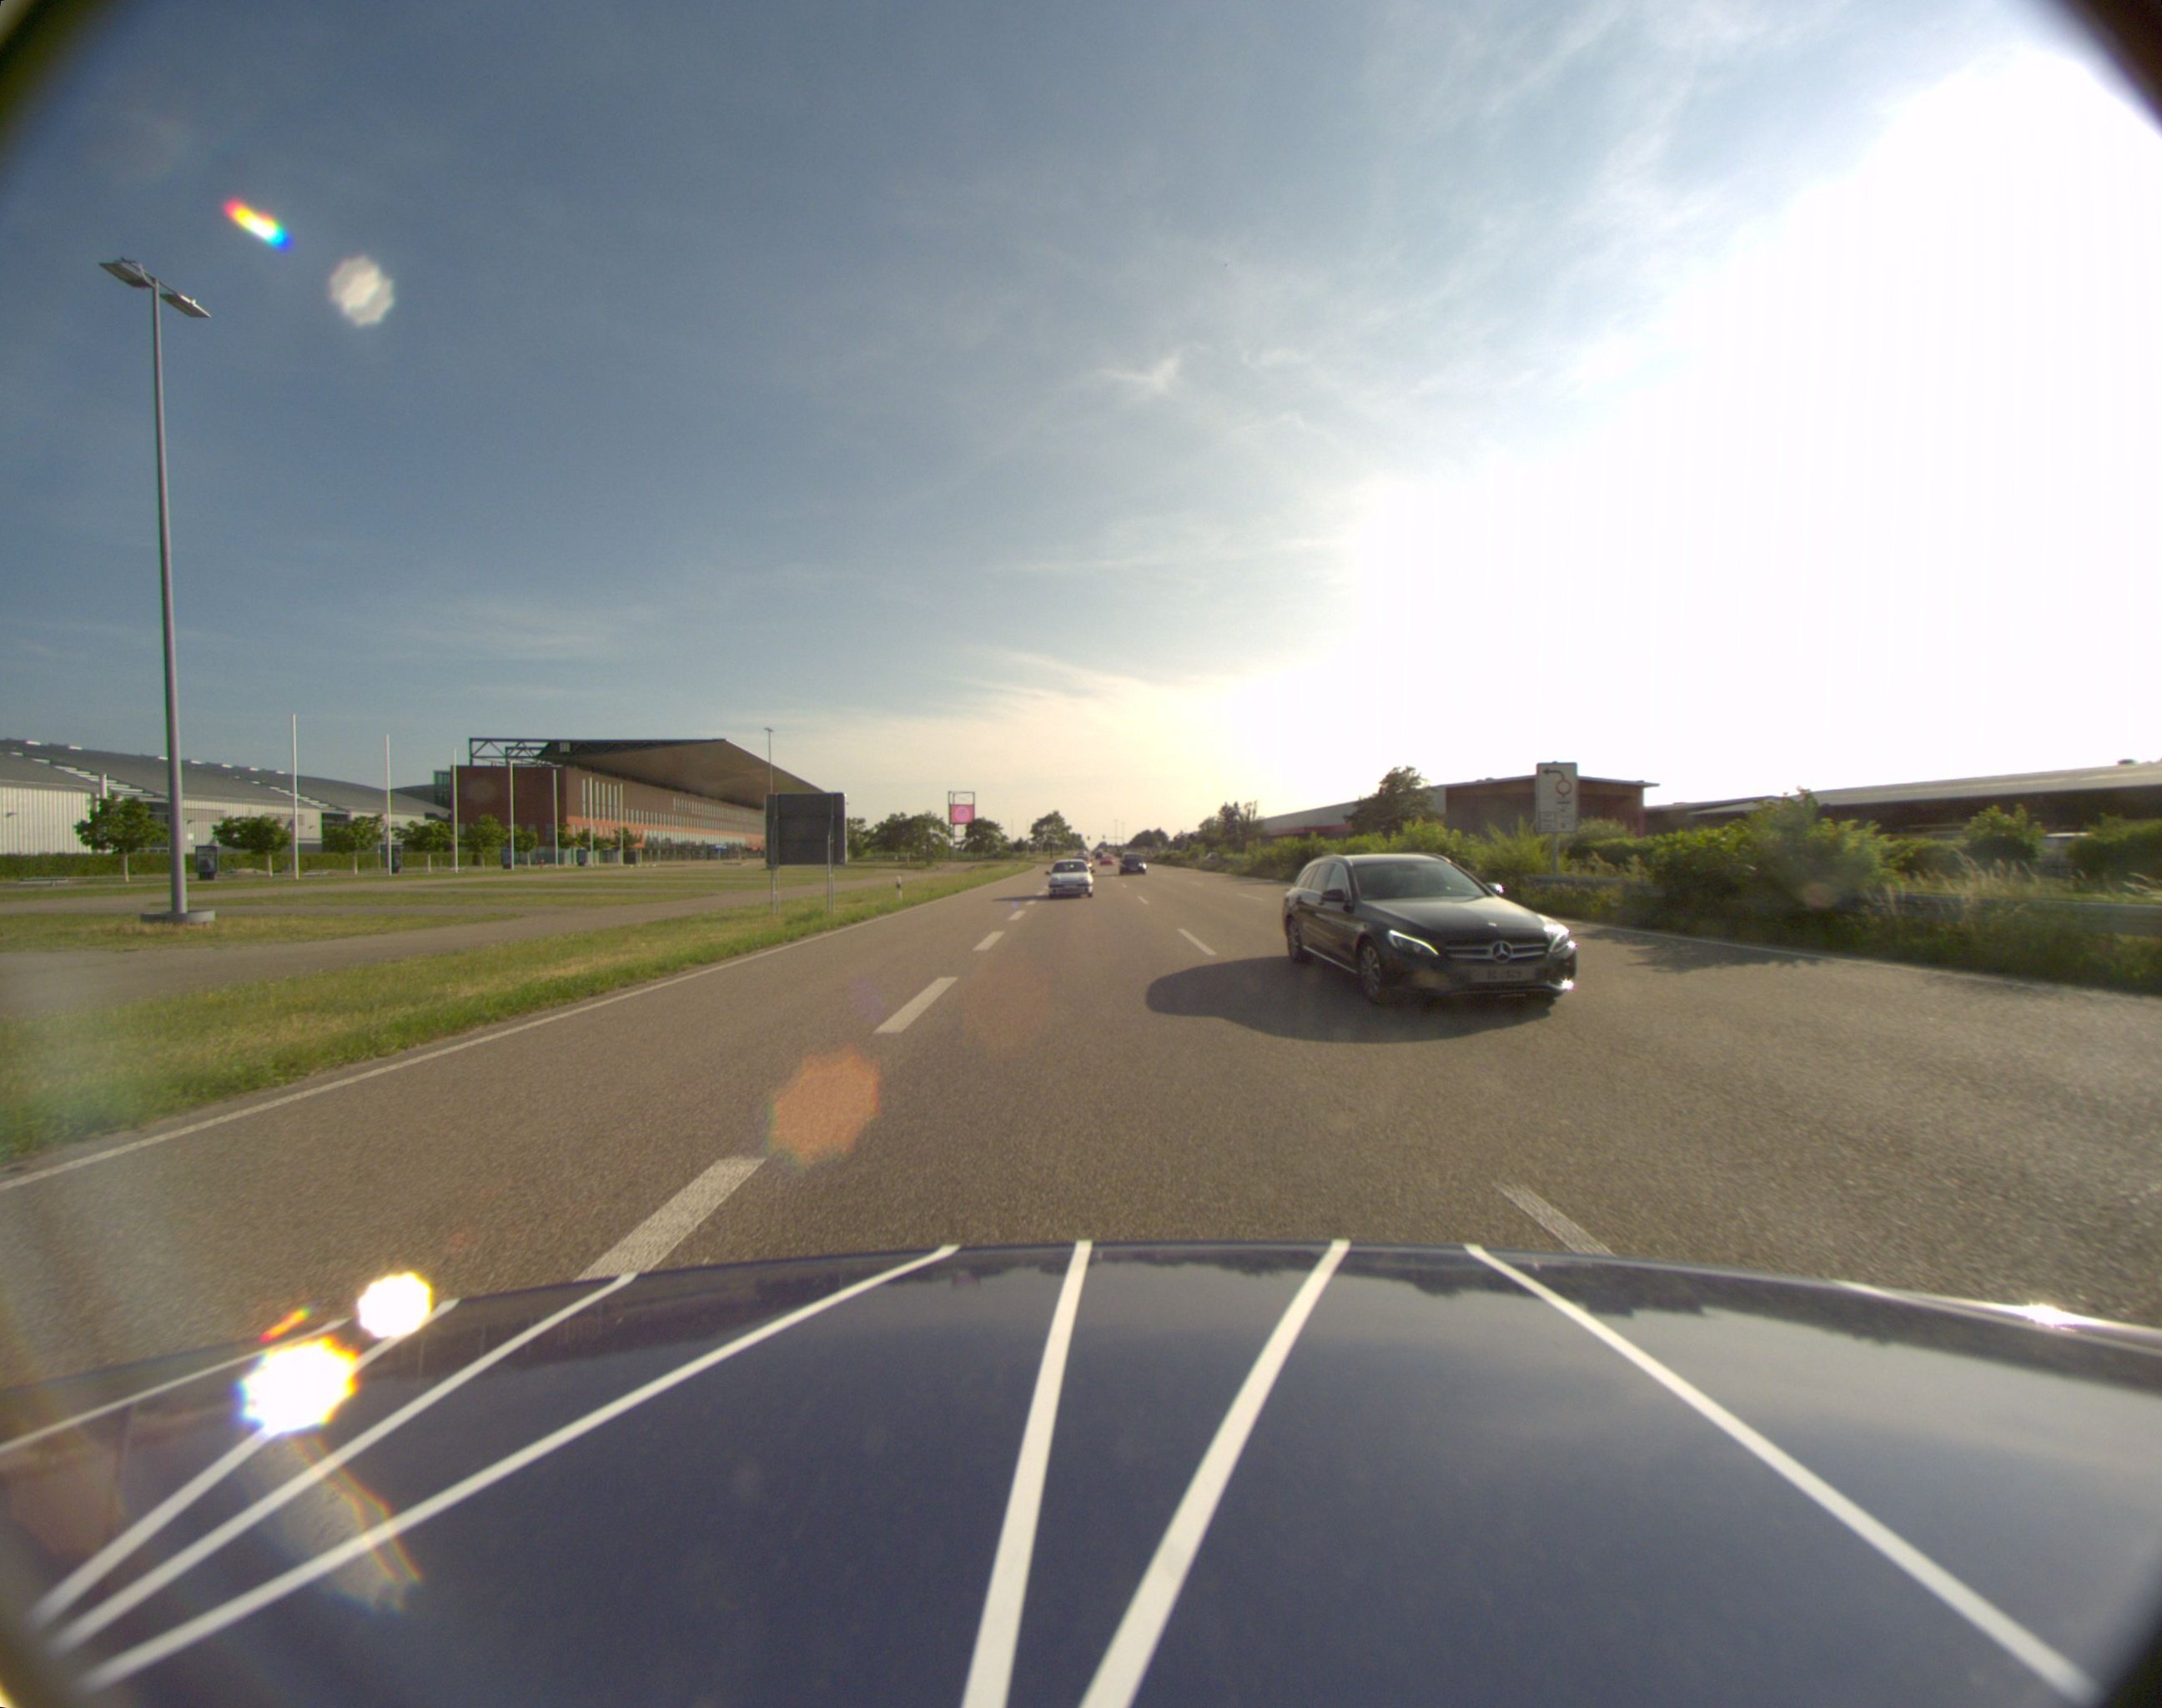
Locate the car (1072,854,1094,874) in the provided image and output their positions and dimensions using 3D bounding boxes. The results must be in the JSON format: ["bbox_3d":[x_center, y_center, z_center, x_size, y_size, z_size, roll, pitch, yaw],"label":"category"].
[{"bbox_3d":[0.162,0.807,62.470,1.751,1.512,3.739,-1,0,1],"label":"car"}]

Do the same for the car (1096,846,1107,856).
[{"bbox_3d":[4.149,-0.608,153.951,1.998,2.002,3.999,-1,1,1],"label":"car"}]

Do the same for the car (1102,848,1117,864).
[{"bbox_3d":[3.612,0.233,97.635,1.799,1.926,3.999,-1,1,1],"label":"car"}]

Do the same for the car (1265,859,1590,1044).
[{"bbox_3d":[3.531,0.838,8.920,1.576,1.462,5.022,-1,1,1],"label":"car"}]

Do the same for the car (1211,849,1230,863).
[{"bbox_3d":[20.197,0.326,109.960,1.841,1.937,3.998,-1,0,-4],"label":"car"}]

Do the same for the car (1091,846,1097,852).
[{"bbox_3d":[4.029,-1.605,237.604,1.998,1.674,3.999,-1,1,1],"label":"car"}]

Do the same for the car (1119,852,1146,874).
[{"bbox_3d":[3.730,0.652,55.315,1.758,1.499,3.422,-1,1,0],"label":"car"}]

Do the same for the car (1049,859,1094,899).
[{"bbox_3d":[-0.329,0.906,28.921,1.578,1.371,3.451,-1,0,1],"label":"car"}]

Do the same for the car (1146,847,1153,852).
[{"bbox_3d":[20.768,-1.455,230.699,1.784,1.416,4.000,-1,1,1],"label":"car"}]
